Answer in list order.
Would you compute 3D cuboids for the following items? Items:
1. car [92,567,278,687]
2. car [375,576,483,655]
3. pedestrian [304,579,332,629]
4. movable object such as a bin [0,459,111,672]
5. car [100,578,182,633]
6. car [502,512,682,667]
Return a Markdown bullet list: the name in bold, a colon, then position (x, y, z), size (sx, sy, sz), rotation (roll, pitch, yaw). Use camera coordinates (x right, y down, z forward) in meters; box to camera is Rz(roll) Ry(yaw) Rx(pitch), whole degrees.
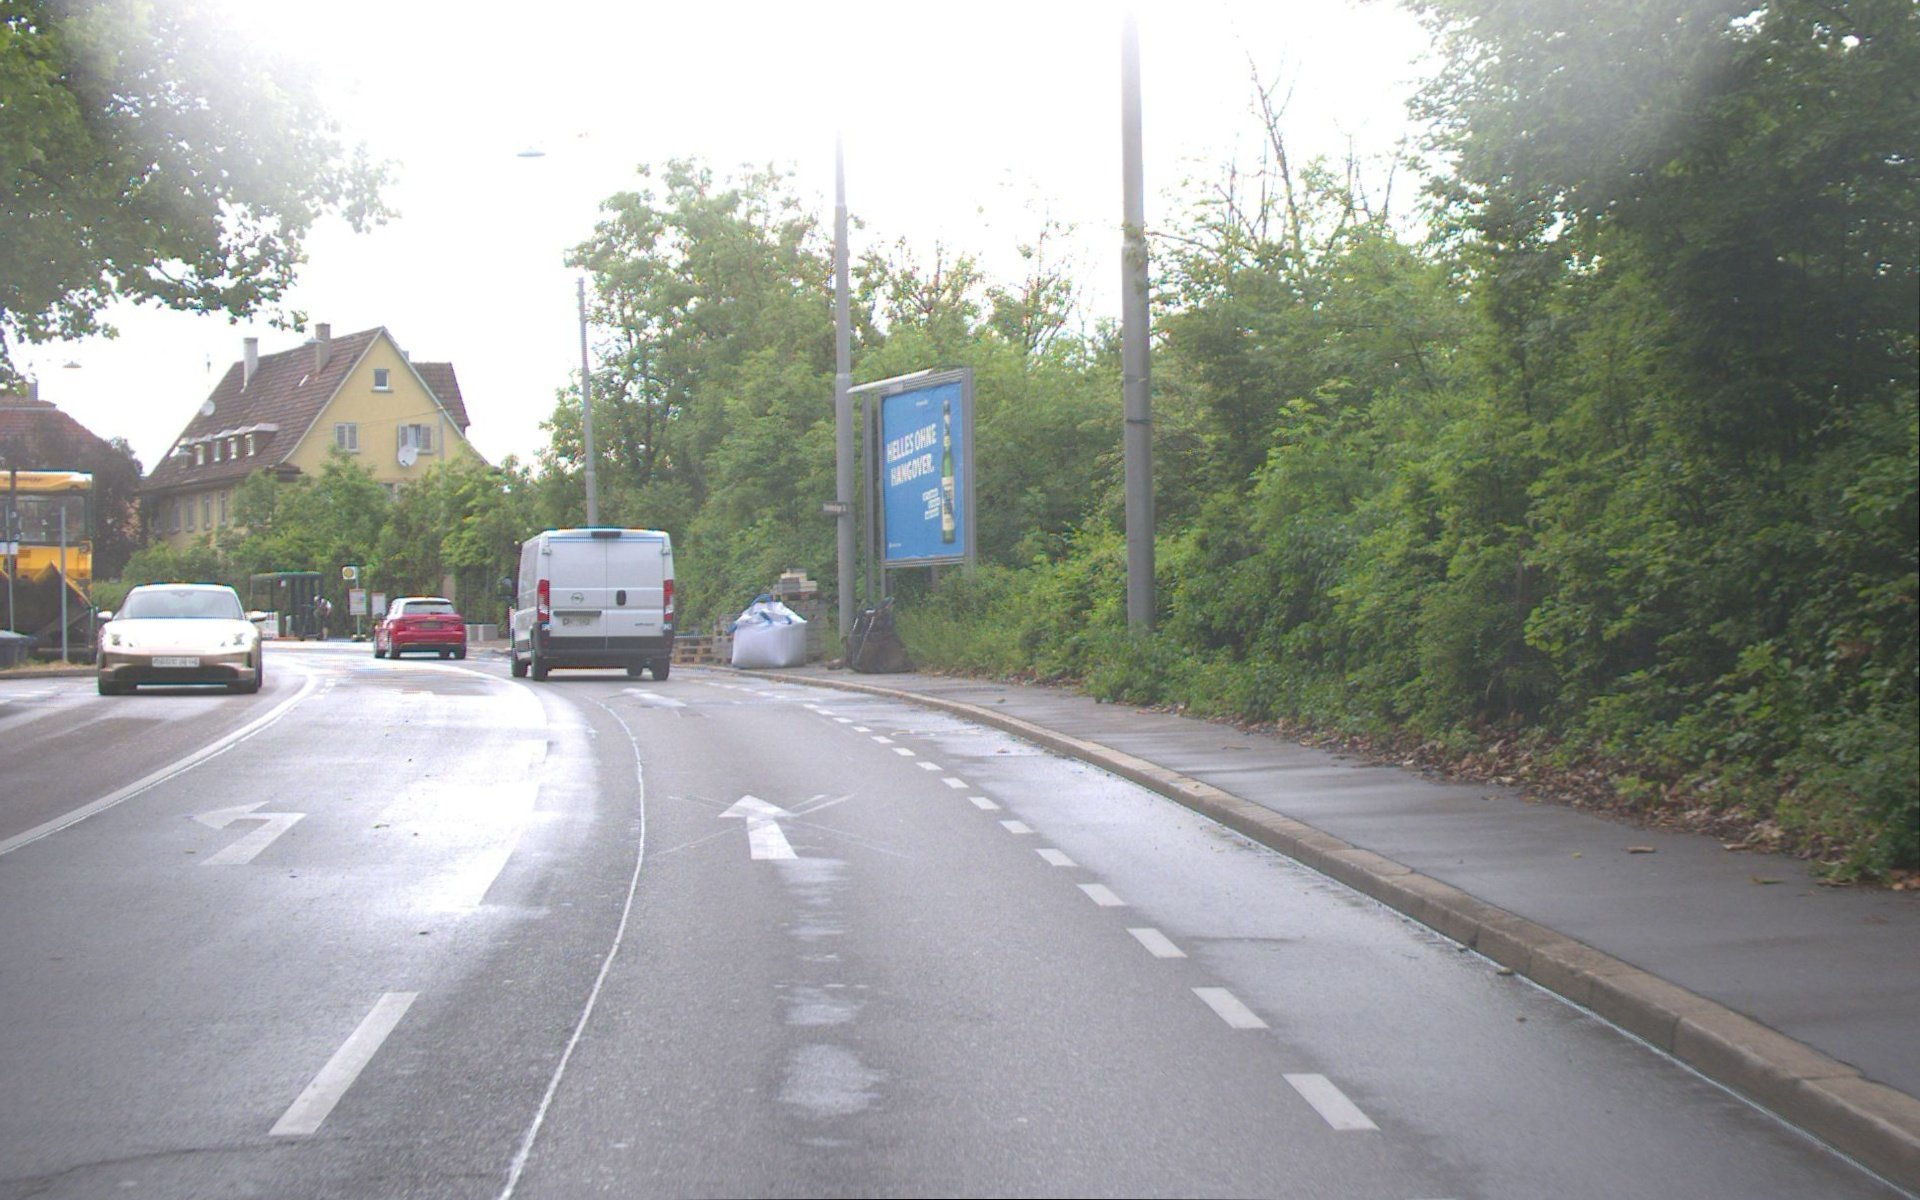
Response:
- **car**: position (-9.918, 0.309, 44.283), size (2.070, 1.348, 4.715), rotation (1, 1, -10)
- **car**: position (-12.471, 0.340, 80.559), size (2.237, 1.651, 4.715), rotation (1, 1, -12)
- **pedestrian**: position (-22.661, 0.145, 121.370), size (0.905, 1.725, 0.654), rotation (1, 1, -13)
- **movable object such as a bin**: position (-17.648, -0.711, 65.136), size (2.773, 3.842, 5.989), rotation (1, 1, -12)
- **car**: position (-29.074, 0.182, 121.895), size (2.237, 1.798, 4.715), rotation (1, 1, -21)
- **car**: position (-5.643, -0.202, 52.158), size (2.237, 2.205, 4.715), rotation (1, 1, -12)
